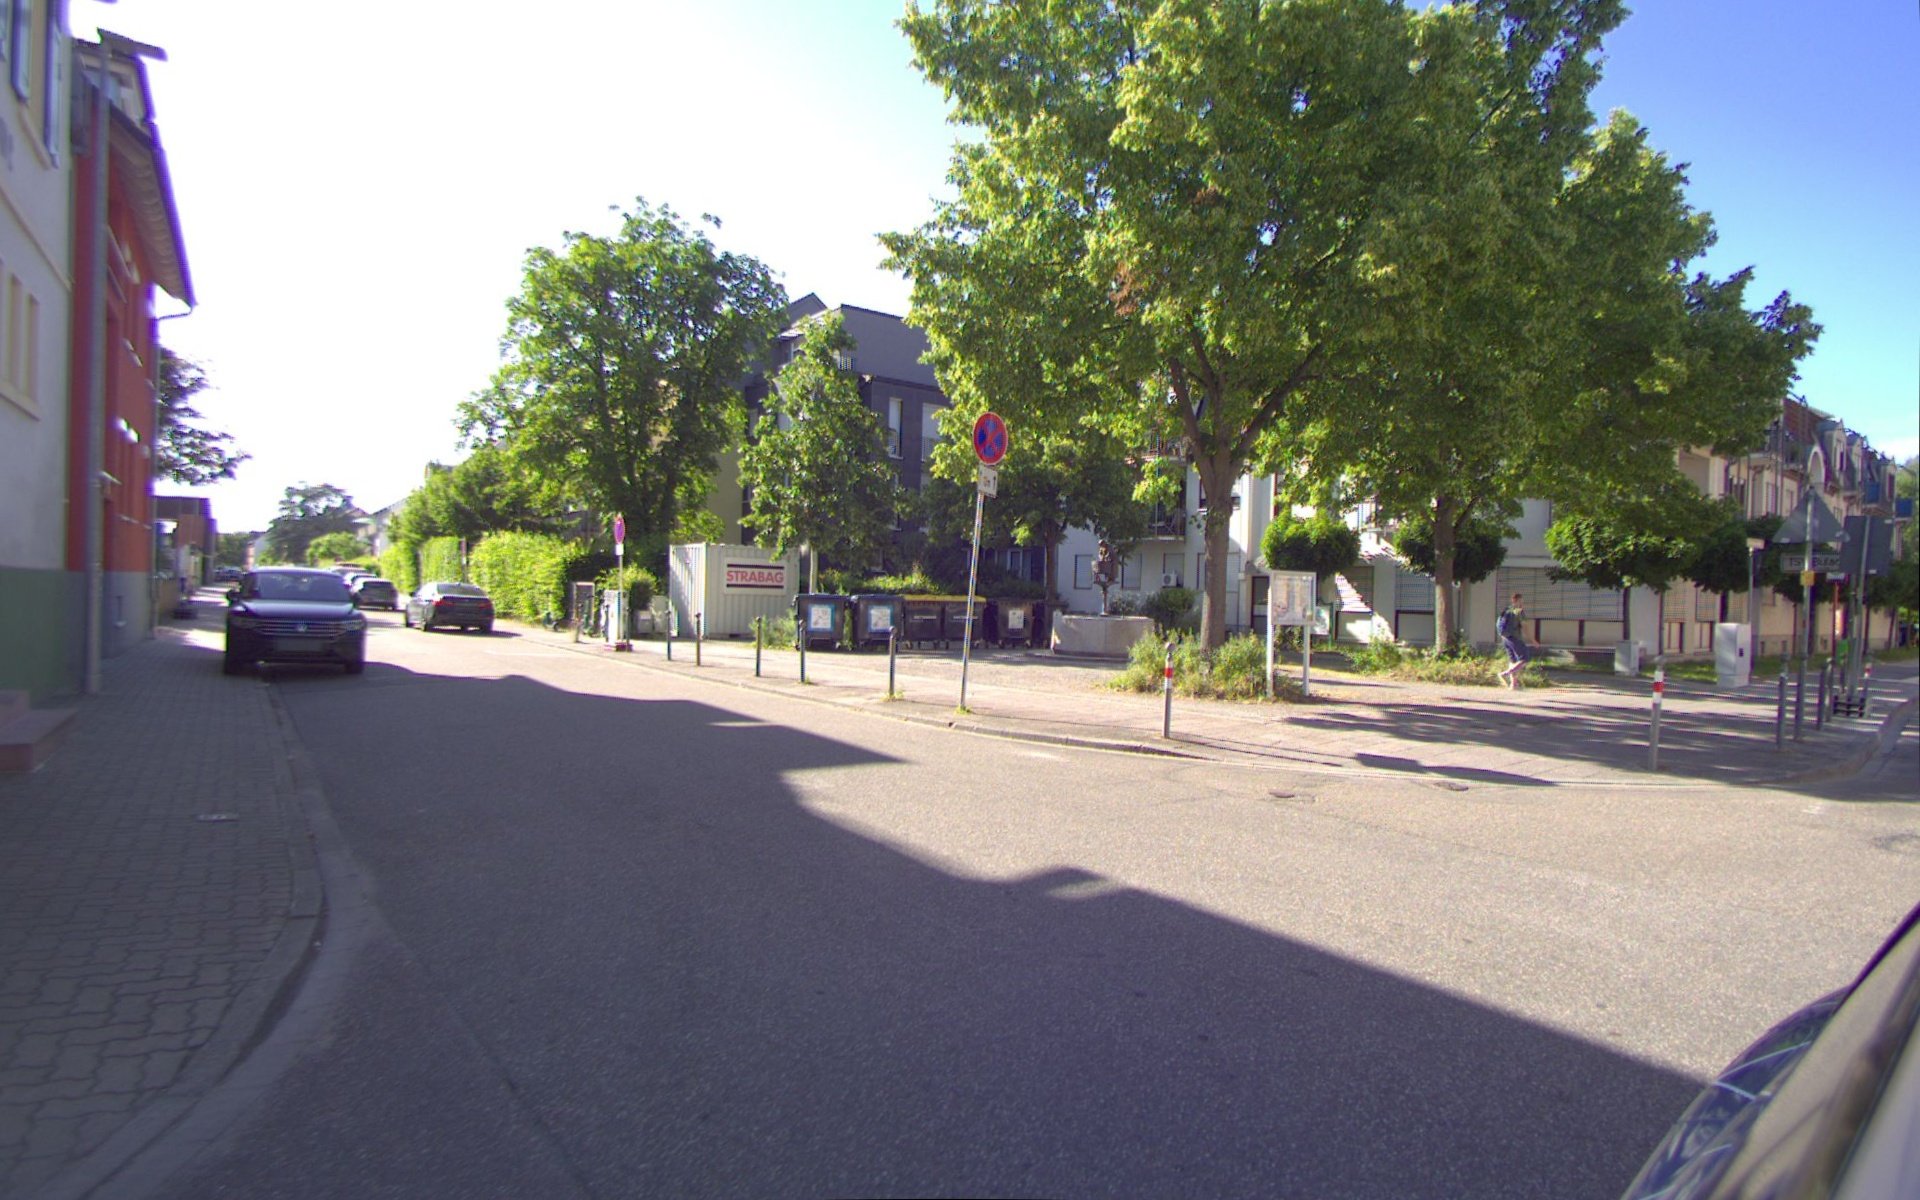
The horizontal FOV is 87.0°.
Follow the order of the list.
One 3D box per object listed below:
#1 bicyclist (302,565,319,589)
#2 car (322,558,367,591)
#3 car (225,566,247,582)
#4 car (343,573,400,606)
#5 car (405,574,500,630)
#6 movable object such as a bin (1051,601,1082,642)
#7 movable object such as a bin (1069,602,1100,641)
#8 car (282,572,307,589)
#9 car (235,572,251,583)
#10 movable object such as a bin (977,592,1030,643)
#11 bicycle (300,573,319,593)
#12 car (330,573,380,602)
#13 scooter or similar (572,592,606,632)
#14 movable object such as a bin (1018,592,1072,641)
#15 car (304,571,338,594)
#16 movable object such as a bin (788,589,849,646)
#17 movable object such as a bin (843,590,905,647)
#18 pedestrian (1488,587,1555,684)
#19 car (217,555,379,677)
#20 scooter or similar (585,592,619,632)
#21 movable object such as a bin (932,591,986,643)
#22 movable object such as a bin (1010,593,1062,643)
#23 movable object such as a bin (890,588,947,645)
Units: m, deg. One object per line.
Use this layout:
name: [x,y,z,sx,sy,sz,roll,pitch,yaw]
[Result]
bicyclist: [-37.438,-1.332,58.309,0.709,1.283,0.836,4,-1,-37]
car: [-36.140,-1.509,59.402,1.759,1.760,4.133,4,-1,-37]
car: [-83.966,-3.035,117.364,1.920,1.704,4.274,-1,2,-37]
car: [-27.381,-0.500,47.031,1.759,1.375,4.133,3,0,-37]
car: [-15.137,0.022,30.084,1.759,1.493,4.133,3,0,-37]
movable object such as a bin: [2.963,0.599,28.260,0.549,1.107,0.710,1,-2,-30]
movable object such as a bin: [3.510,0.609,28.617,0.549,1.107,0.710,1,-2,-30]
car: [-65.752,-1.933,99.958,1.759,1.493,4.133,4,-1,-37]
car: [-112.155,-3.498,158.230,1.920,1.704,4.274,-1,2,-37]
movable object such as a bin: [1.100,0.443,25.950,0.995,1.272,0.973,1,-2,-30]
bicycle: [-37.506,-0.996,58.352,0.709,1.063,2.221,4,-1,-37]
car: [-31.665,-0.687,52.900,1.759,1.375,4.133,3,0,-37]
scooter or similar: [-10.236,0.335,27.911,0.496,1.057,1.640,1,-2,-34]
movable object such as a bin: [2.291,0.454,27.109,1.023,1.272,1.117,-1,-2,36]
car: [-47.217,-1.317,74.753,1.759,1.493,4.133,4,-1,-37]
movable object such as a bin: [-3.262,0.391,23.288,1.083,1.271,0.973,1,0,-30]
movable object such as a bin: [-1.994,0.425,23.396,1.125,1.275,0.973,1,-2,-30]
pedestrian: [10.254,0.634,18.493,0.810,1.739,0.662,1,0,-13]
car: [-10.859,0.148,16.466,1.920,1.704,4.274,-1,2,-37]
scooter or similar: [-9.883,0.336,27.919,0.496,1.057,1.640,1,-2,-34]
movable object such as a bin: [-0.037,0.426,25.301,0.995,1.272,0.973,1,-2,-30]
movable object such as a bin: [1.989,0.481,26.471,0.995,1.272,0.973,1,-2,-30]
movable object such as a bin: [-1.019,0.415,24.734,1.083,1.358,0.973,1,-2,-30]
